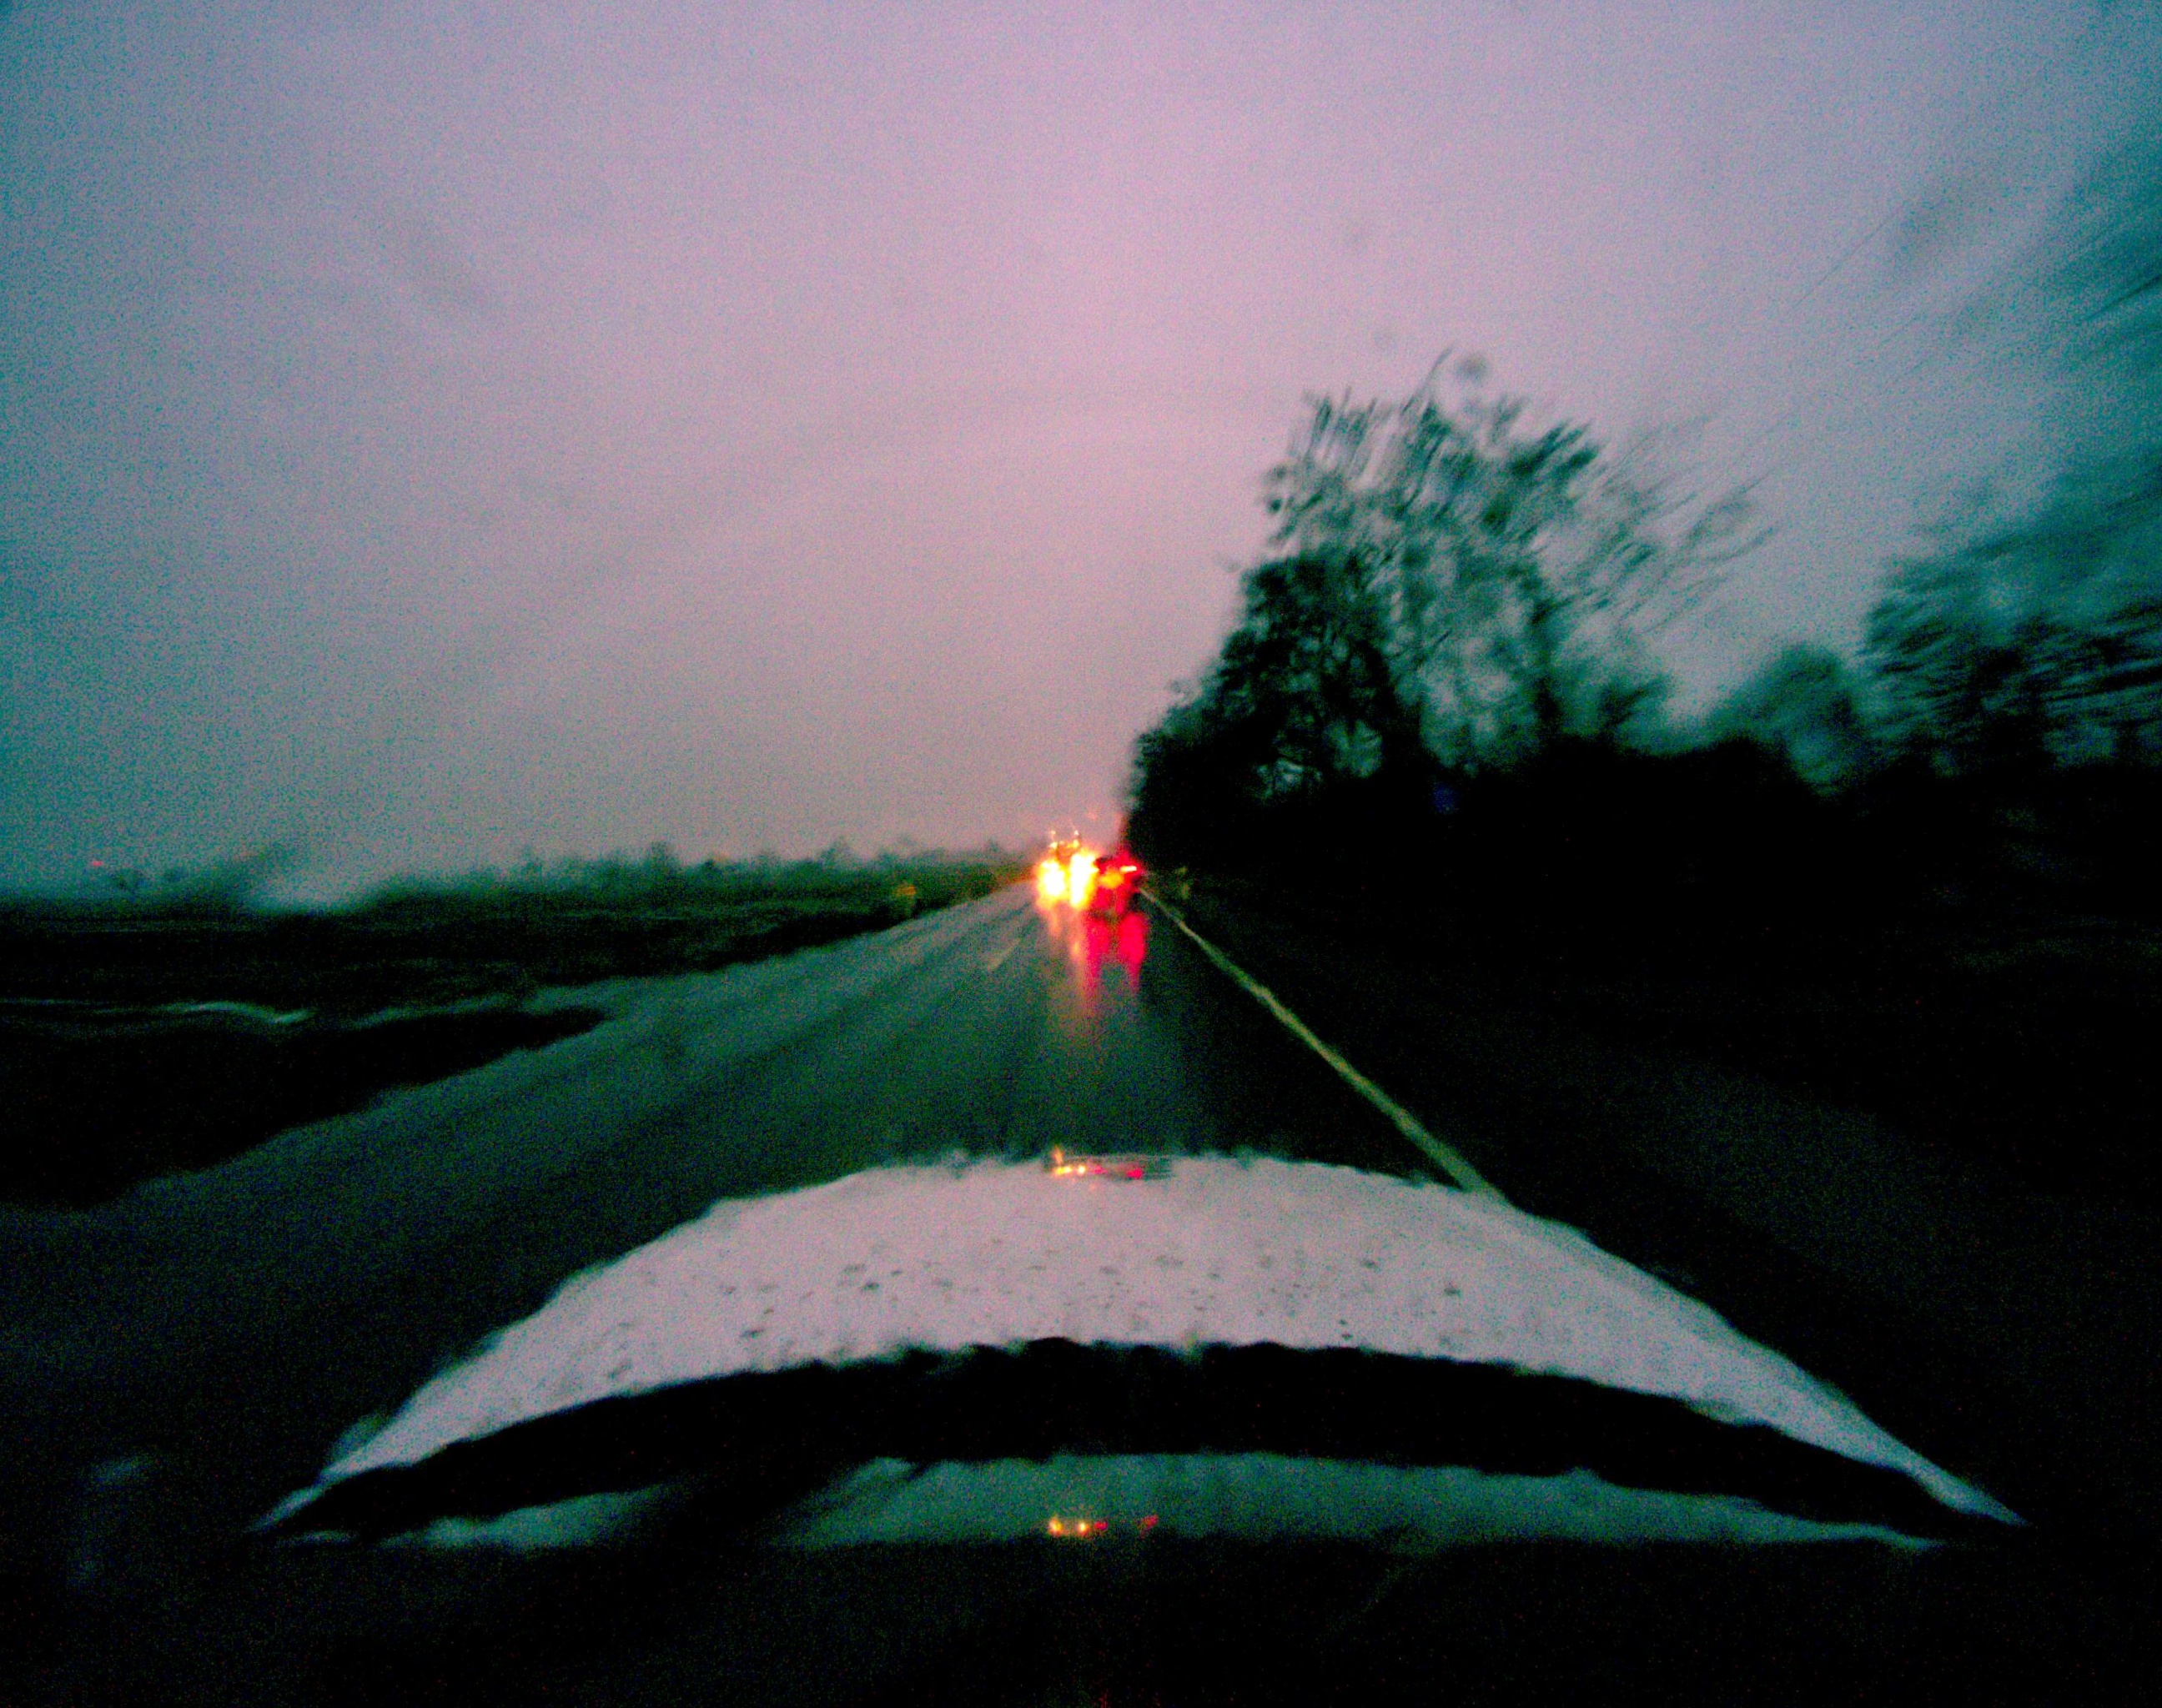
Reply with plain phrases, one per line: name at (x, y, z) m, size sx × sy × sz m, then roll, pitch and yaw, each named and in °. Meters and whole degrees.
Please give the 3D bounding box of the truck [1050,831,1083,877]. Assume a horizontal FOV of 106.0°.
truck at (-1.357, -0.021, 77.806) m, size 2.715 × 4.105 × 6.589 m, roll -3°, pitch 0°, yaw 1°

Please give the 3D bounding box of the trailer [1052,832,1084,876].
trailer at (-1.216, -0.022, 83.524) m, size 2.692 × 4.080 × 12.384 m, roll -3°, pitch 0°, yaw 1°

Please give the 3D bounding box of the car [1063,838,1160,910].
car at (1.000, 0.613, 26.692) m, size 2.809 × 2.077 × 5.807 m, roll -1°, pitch 0°, yaw 2°
